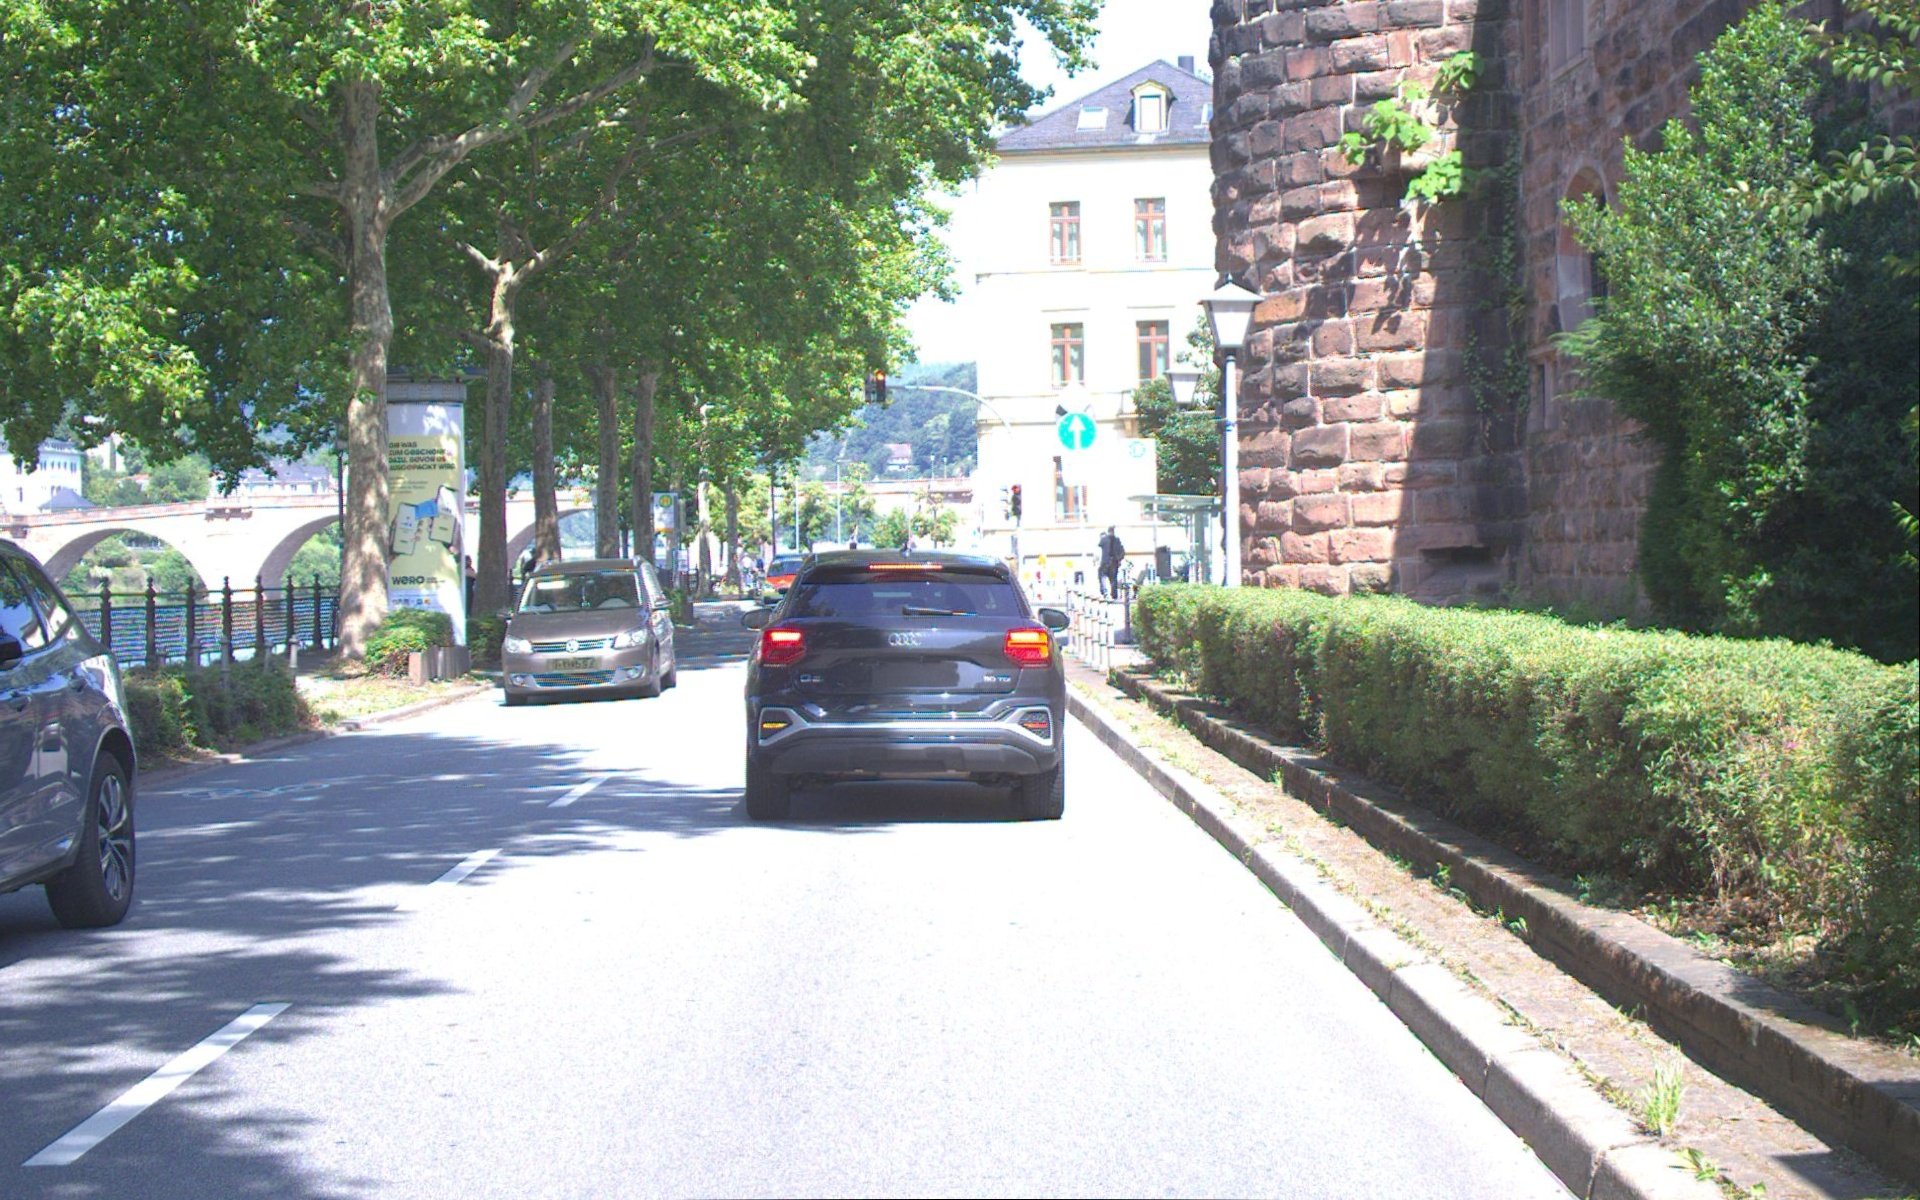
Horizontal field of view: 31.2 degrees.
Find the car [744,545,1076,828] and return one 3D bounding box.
[{"bbox_3d":[-0.321,0.434,20.162,1.748,1.489,3.629,1,1,-2],"label":"car"}]

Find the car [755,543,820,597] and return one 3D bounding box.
[{"bbox_3d":[-5.054,-0.900,101.017,1.615,1.518,3.476,-2,1,1],"label":"car"}]

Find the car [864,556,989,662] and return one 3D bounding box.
[{"bbox_3d":[-0.493,0.100,51.871,1.801,1.518,3.716,-1,1,0],"label":"car"}]

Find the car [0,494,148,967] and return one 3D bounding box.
[{"bbox_3d":[-4.396,0.491,12.586,1.877,1.692,4.259,-2,1,-1],"label":"car"}]

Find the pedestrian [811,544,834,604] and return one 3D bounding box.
[{"bbox_3d":[-3.775,-0.708,94.264,0.517,1.632,0.439,-2,1,-7],"label":"pedestrian"}]

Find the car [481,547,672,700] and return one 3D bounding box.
[{"bbox_3d":[-4.436,0.235,40.290,1.763,1.642,4.090,-2,1,-1],"label":"car"}]

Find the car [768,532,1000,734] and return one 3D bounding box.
[{"bbox_3d":[-0.613,0.237,29.322,1.801,1.557,3.716,-2,1,0],"label":"car"}]

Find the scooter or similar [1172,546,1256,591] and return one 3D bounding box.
[{"bbox_3d":[5.751,-0.712,77.750,1.845,0.960,0.429,1,0,-1],"label":"scooter or similar"}]

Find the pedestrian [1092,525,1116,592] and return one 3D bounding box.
[{"bbox_3d":[3.557,-1.024,84.947,0.557,1.627,0.660,1,0,1],"label":"pedestrian"}]
